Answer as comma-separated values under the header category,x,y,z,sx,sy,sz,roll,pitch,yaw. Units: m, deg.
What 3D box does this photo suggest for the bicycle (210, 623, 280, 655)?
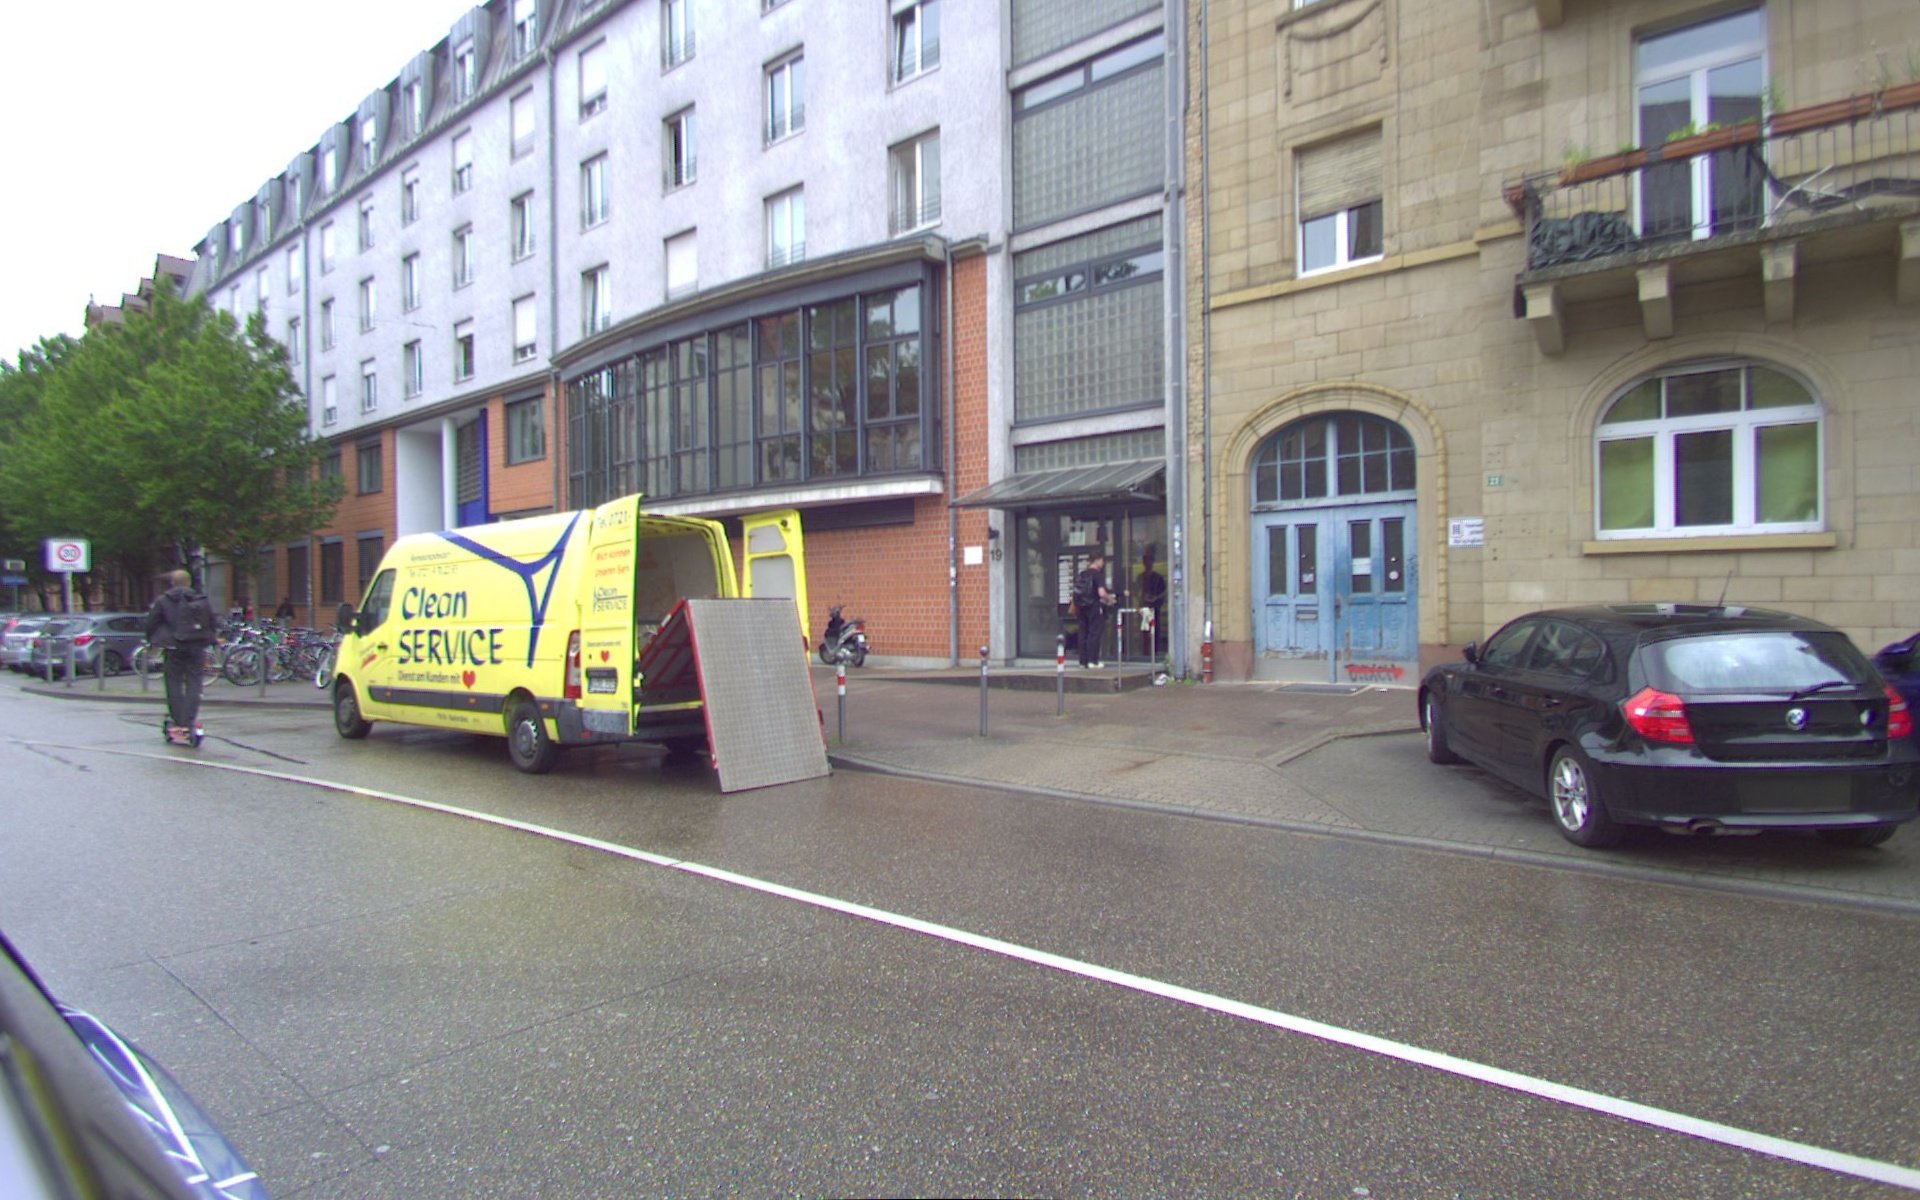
category,x,y,z,sx,sy,sz,roll,pitch,yaw
bicycle,-23.382,1.276,33.125,0.444,0.992,1.831,-1,-1,32

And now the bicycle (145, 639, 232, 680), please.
category,x,y,z,sx,sy,sz,roll,pitch,yaw
bicycle,-17.128,1.310,22.494,0.497,0.811,1.454,-1,1,43

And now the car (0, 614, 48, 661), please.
category,x,y,z,sx,sy,sz,roll,pitch,yaw
car,-33.053,1.302,34.562,1.138,1.567,2.672,-1,0,11

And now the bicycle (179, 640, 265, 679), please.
category,x,y,z,sx,sy,sz,roll,pitch,yaw
bicycle,-16.349,1.306,22.447,0.497,0.727,1.454,-1,1,43

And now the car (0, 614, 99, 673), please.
category,x,y,z,sx,sy,sz,roll,pitch,yaw
car,-26.664,1.216,28.964,1.432,1.564,3.078,-1,0,0

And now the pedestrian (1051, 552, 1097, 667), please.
category,x,y,z,sx,sy,sz,roll,pitch,yaw
pedestrian,1.772,0.153,15.813,0.467,1.761,0.608,0,-2,-24

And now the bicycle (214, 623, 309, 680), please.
category,x,y,z,sx,sy,sz,roll,pitch,yaw
bicycle,-14.933,1.081,21.676,0.517,1.114,1.596,-1,1,27

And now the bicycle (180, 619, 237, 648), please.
category,x,y,z,sx,sy,sz,roll,pitch,yaw
bicycle,-26.575,1.175,35.815,0.464,0.992,1.573,-1,-1,32

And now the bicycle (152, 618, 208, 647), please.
category,x,y,z,sx,sy,sz,roll,pitch,yaw
bicycle,-28.525,1.181,37.028,0.464,0.992,1.573,-1,-1,32

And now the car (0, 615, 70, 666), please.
category,x,y,z,sx,sy,sz,roll,pitch,yaw
car,-30.942,1.314,32.789,1.358,1.567,2.971,-1,0,11

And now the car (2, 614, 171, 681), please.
category,x,y,z,sx,sy,sz,roll,pitch,yaw
car,-22.148,1.166,25.807,1.436,1.514,3.070,-1,0,9

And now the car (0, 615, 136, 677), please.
category,x,y,z,sx,sy,sz,roll,pitch,yaw
car,-24.247,1.210,27.359,1.432,1.514,3.078,-1,0,0

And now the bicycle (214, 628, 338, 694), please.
category,x,y,z,sx,sy,sz,roll,pitch,yaw
bicycle,-12.787,1.114,18.966,1.832,1.081,0.610,-2,1,-45

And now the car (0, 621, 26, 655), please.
category,x,y,z,sx,sy,sz,roll,pitch,yaw
car,-43.497,1.667,44.553,1.662,1.502,3.798,0,-1,-10

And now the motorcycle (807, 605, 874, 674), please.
category,x,y,z,sx,sy,sz,roll,pitch,yaw
motorcycle,-2.202,0.703,18.494,0.516,1.190,1.763,-1,0,-30

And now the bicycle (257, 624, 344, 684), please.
category,x,y,z,sx,sy,sz,roll,pitch,yaw
bicycle,-13.273,1.072,20.379,1.439,1.111,0.462,-2,1,-36

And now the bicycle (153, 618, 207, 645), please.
category,x,y,z,sx,sy,sz,roll,pitch,yaw
bicycle,-29.788,1.189,38.680,0.464,0.992,1.573,-1,-1,32

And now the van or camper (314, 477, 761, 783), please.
category,x,y,z,sx,sy,sz,roll,pitch,yaw
van or camper,-5.007,0.314,11.452,5.936,2.631,2.174,-1,-2,40

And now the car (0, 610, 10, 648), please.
category,x,y,z,sx,sy,sz,roll,pitch,yaw
car,-48.712,1.423,48.842,1.666,1.910,4.330,0,-1,-1

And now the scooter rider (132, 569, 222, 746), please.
category,x,y,z,sx,sy,sz,roll,pitch,yaw
scooter rider,-8.945,0.639,11.571,0.503,1.950,0.704,-1,-2,38

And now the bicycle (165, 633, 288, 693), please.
category,x,y,z,sx,sy,sz,roll,pitch,yaw
bicycle,-13.789,1.163,19.071,0.519,1.000,1.778,-1,1,38

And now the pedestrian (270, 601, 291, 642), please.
category,x,y,z,sx,sy,sz,roll,pitch,yaw
pedestrian,-25.556,0.803,38.071,0.547,1.541,0.509,-1,-2,37

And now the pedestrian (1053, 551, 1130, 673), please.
category,x,y,z,sx,sy,sz,roll,pitch,yaw
pedestrian,1.975,0.177,15.162,0.785,1.741,0.997,-1,-1,31

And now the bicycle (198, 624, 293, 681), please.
category,x,y,z,sx,sy,sz,roll,pitch,yaw
bicycle,-15.511,1.118,21.993,0.519,1.114,1.591,-1,1,35

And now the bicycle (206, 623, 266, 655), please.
category,x,y,z,sx,sy,sz,roll,pitch,yaw
bicycle,-23.822,1.276,33.336,0.444,0.992,1.573,-1,-1,32

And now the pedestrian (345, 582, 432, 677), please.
category,x,y,z,sx,sy,sz,roll,pitch,yaw
pedestrian,-12.251,0.609,21.712,1.054,1.894,1.213,-1,3,40

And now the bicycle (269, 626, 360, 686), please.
category,x,y,z,sx,sy,sz,roll,pitch,yaw
bicycle,-12.671,1.080,19.893,0.418,1.072,1.442,-1,1,44

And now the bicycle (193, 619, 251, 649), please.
category,x,y,z,sx,sy,sz,roll,pitch,yaw
bicycle,-25.618,1.171,35.145,0.444,0.992,1.573,-1,-1,32

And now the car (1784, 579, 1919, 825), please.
category,x,y,z,sx,sy,sz,roll,pitch,yaw
car,6.921,0.641,5.723,1.780,1.585,4.029,-1,-1,11

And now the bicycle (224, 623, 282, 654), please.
category,x,y,z,sx,sy,sz,roll,pitch,yaw
bicycle,-23.840,1.287,34.163,0.444,0.992,1.573,-1,-1,32

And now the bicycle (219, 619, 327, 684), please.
category,x,y,z,sx,sy,sz,roll,pitch,yaw
bicycle,-14.062,1.028,20.775,0.517,1.203,1.798,-1,1,27

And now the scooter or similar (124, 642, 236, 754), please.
category,x,y,z,sx,sy,sz,roll,pitch,yaw
scooter or similar,-8.889,1.077,11.522,1.383,1.174,0.694,-1,-1,39

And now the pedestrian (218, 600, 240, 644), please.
category,x,y,z,sx,sy,sz,roll,pitch,yaw
pedestrian,-27.476,0.815,38.038,0.372,1.622,0.598,-1,-1,39

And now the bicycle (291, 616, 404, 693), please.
category,x,y,z,sx,sy,sz,roll,pitch,yaw
bicycle,-11.178,0.967,18.554,0.760,1.225,1.917,0,2,5

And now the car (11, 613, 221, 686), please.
category,x,y,z,sx,sy,sz,roll,pitch,yaw
car,-19.849,1.107,23.998,1.720,1.514,3.614,0,0,9

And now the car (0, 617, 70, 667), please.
category,x,y,z,sx,sy,sz,roll,pitch,yaw
car,-29.071,1.281,31.120,1.177,1.461,2.502,-1,0,0

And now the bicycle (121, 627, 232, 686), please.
category,x,y,z,sx,sy,sz,roll,pitch,yaw
bicycle,-16.582,1.164,21.454,0.472,1.114,1.791,-1,1,35

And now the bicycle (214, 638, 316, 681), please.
category,x,y,z,sx,sy,sz,roll,pitch,yaw
bicycle,-14.498,1.235,21.166,0.455,0.767,1.757,-1,1,27

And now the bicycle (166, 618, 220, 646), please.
category,x,y,z,sx,sy,sz,roll,pitch,yaw
bicycle,-28.833,1.190,38.054,0.464,0.992,1.573,-1,-1,32

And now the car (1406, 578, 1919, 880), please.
category,x,y,z,sx,sy,sz,roll,pitch,yaw
car,4.743,0.682,7.175,1.777,1.523,4.034,0,-1,7

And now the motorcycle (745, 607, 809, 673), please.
category,x,y,z,sx,sy,sz,roll,pitch,yaw
motorcycle,-3.523,0.735,19.307,0.516,1.190,2.010,-1,0,-30

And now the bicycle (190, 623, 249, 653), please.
category,x,y,z,sx,sy,sz,roll,pitch,yaw
bicycle,-25.280,1.281,34.577,0.444,0.992,1.573,-1,-1,32

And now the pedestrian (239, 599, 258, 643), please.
category,x,y,z,sx,sy,sz,roll,pitch,yaw
pedestrian,-26.821,0.782,38.132,0.425,1.622,0.508,-1,-1,41
